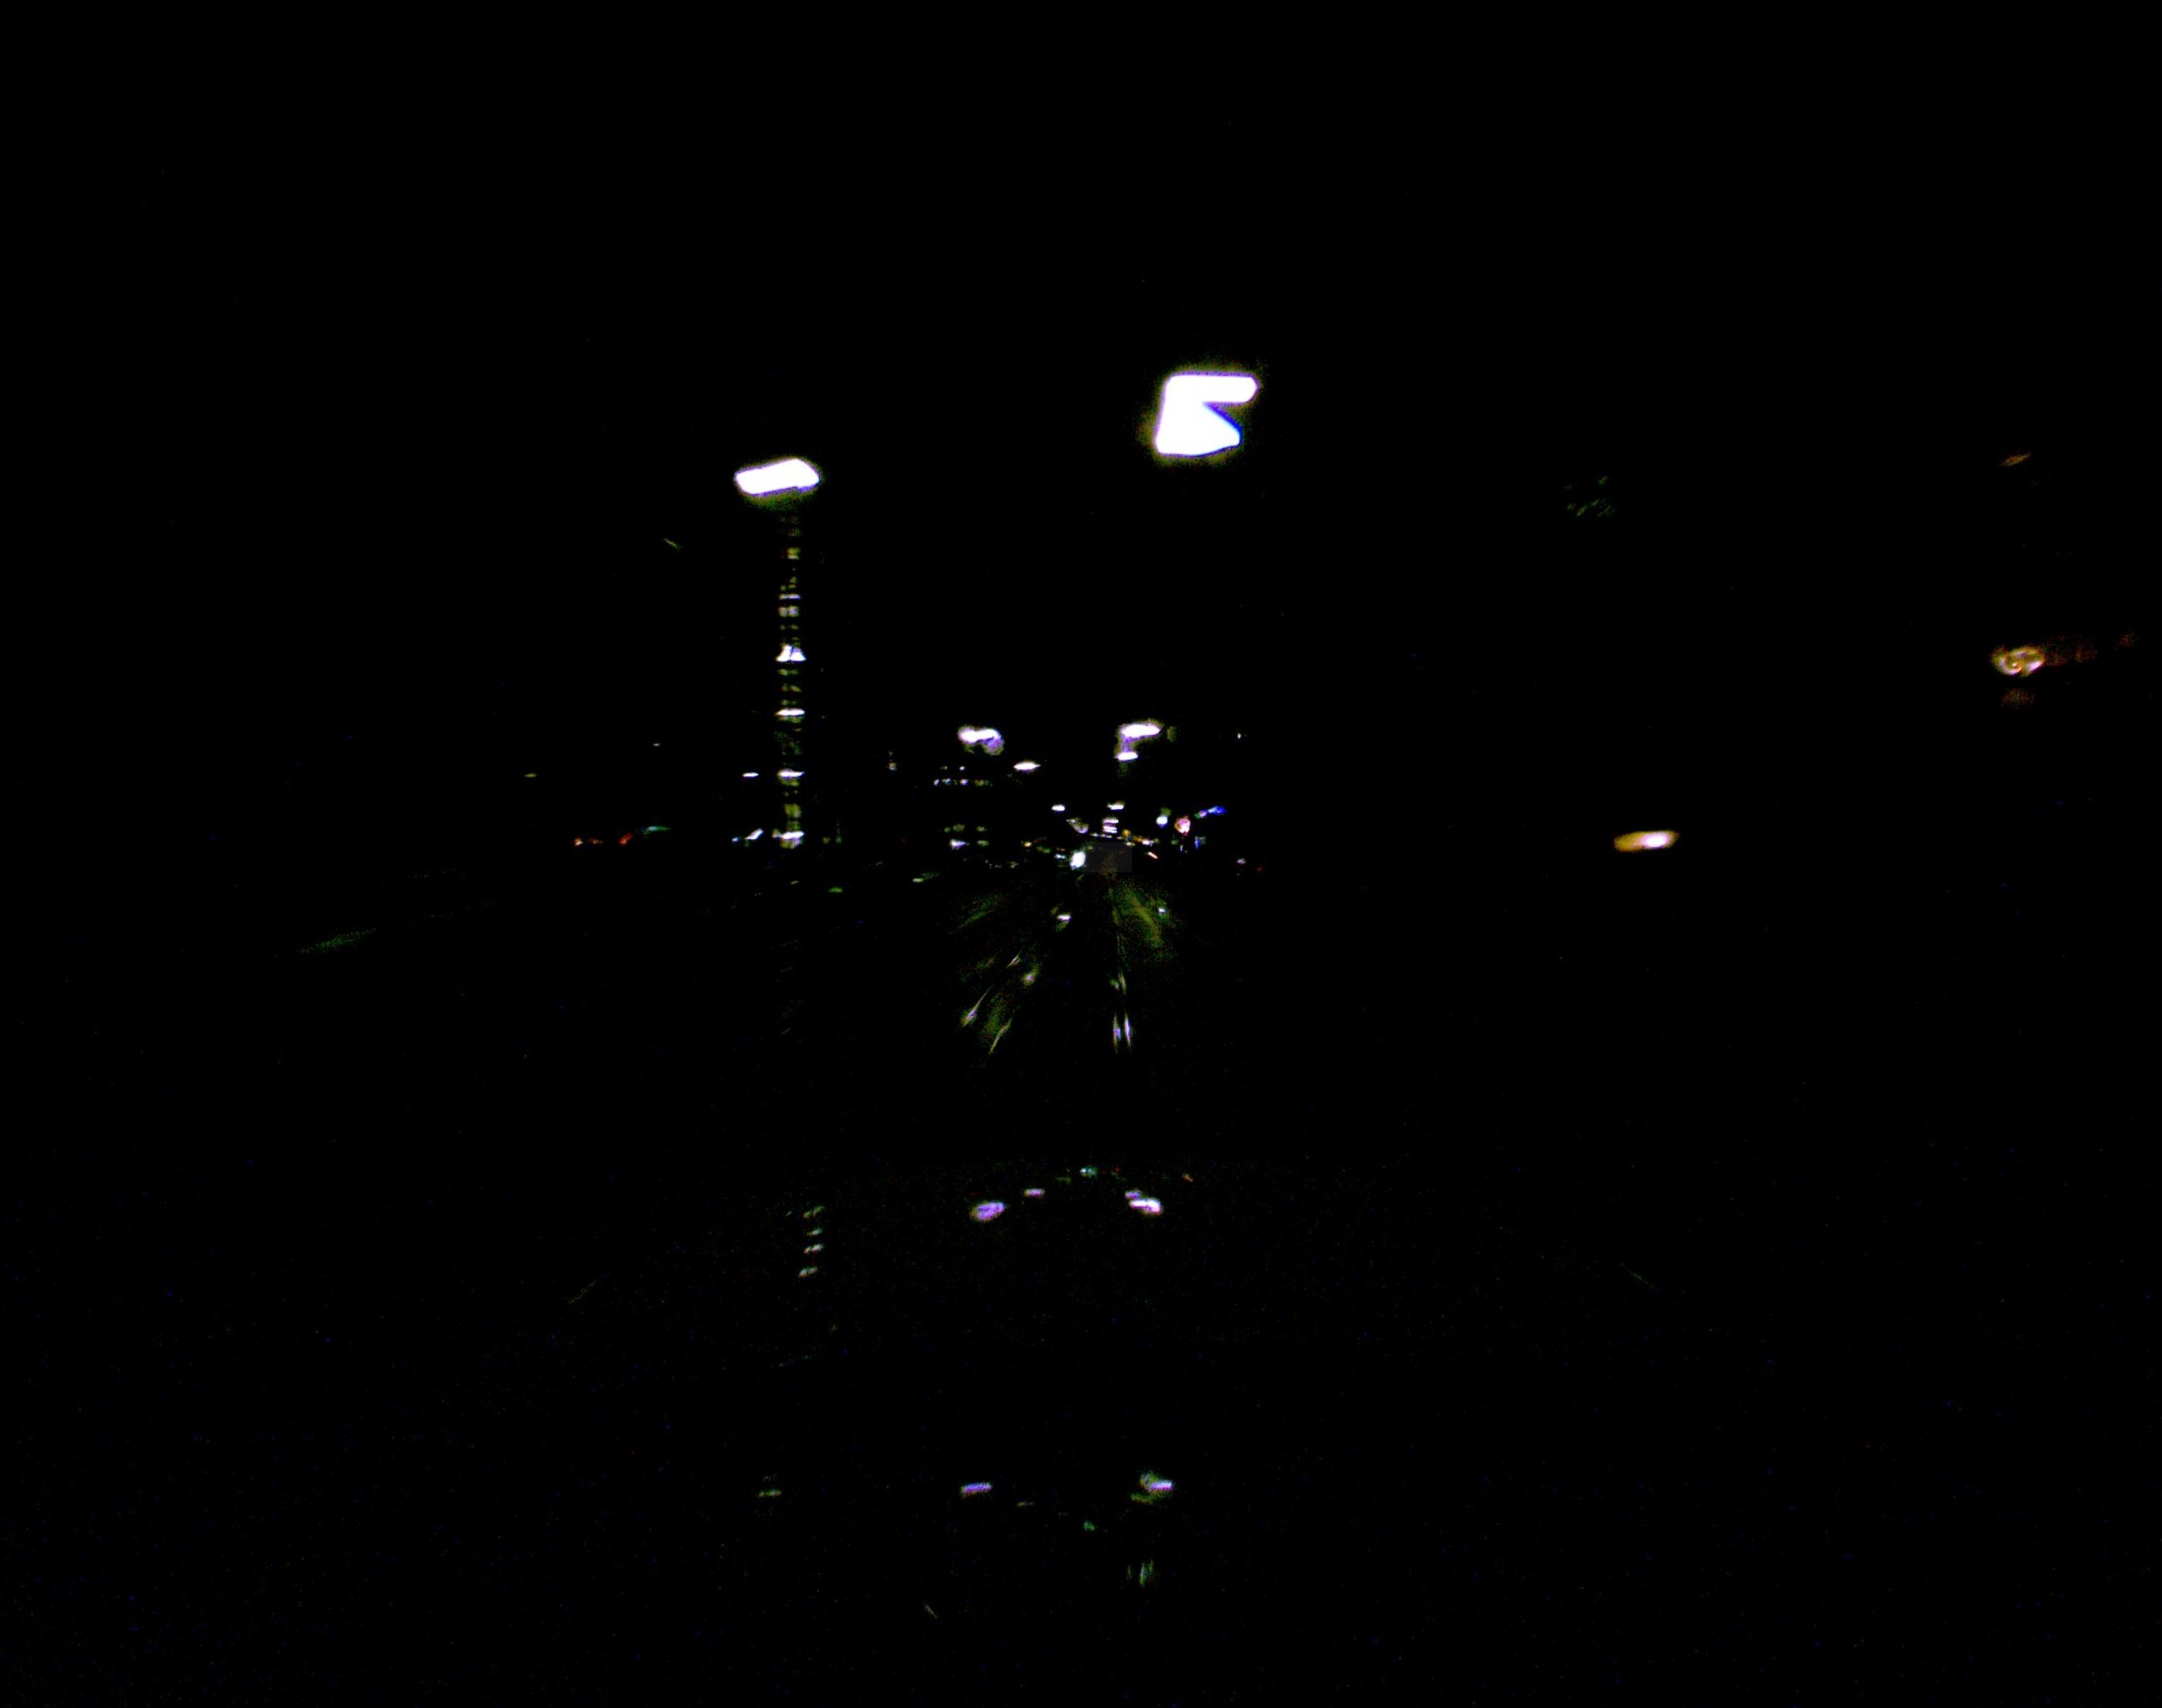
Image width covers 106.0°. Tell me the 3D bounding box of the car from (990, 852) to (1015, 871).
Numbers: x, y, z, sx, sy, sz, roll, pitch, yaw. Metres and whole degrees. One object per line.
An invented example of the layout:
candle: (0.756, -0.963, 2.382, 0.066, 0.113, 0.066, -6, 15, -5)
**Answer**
car: (-7.092, 0.670, 73.619, 1.875, 1.545, 4.397, 2, 0, -1)

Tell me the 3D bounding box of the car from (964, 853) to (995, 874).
car: (-7.629, 0.724, 61.518, 1.883, 1.463, 4.954, -2, 0, -3)

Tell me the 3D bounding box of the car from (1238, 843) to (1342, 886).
car: (8.348, 0.392, 32.637, 3.703, 1.518, 1.649, -2, 0, -17)

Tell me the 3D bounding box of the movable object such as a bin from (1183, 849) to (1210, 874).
movable object such as a bin: (6.970, 0.464, 49.215, 1.319, 1.408, 1.158, -3, -1, -4)

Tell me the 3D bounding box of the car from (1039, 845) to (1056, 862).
car: (-5.572, -0.114, 136.844, 2.176, 2.591, 6.398, -1, 1, 4)

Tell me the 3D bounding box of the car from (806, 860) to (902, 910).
car: (-8.206, 1.061, 29.913, 2.136, 1.619, 4.590, 1, 0, 1)

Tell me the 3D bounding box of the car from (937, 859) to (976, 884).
car: (-7.744, 1.083, 51.055, 1.835, 1.423, 4.206, -2, 0, -2)

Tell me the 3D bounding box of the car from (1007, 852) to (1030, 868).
car: (-6.713, 0.596, 87.455, 1.976, 1.631, 4.518, -1, 0, 1)

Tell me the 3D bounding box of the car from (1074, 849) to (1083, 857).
car: (-0.570, -0.206, 177.211, 1.769, 1.517, 4.052, -1, 0, 2)

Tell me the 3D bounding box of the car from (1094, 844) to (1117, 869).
car: (2.408, 0.258, 81.738, 2.237, 2.361, 4.393, -1, 0, 0)

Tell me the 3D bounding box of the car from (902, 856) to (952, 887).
car: (-7.789, 0.856, 41.596, 1.768, 1.440, 4.604, -2, 0, -2)

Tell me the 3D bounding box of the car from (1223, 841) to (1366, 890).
car: (7.524, 0.390, 28.695, 4.598, 1.475, 1.828, -2, 0, -19)

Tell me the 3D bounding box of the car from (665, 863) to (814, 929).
car: (-8.540, 0.994, 20.861, 1.725, 1.438, 4.628, -1, 0, 2)

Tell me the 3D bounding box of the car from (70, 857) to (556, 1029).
car: (-8.938, 0.878, 10.164, 1.803, 1.578, 4.355, 2, 0, 2)

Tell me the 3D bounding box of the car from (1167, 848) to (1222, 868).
car: (9.361, 0.339, 67.083, 4.111, 1.537, 1.945, -1, 0, -24)
